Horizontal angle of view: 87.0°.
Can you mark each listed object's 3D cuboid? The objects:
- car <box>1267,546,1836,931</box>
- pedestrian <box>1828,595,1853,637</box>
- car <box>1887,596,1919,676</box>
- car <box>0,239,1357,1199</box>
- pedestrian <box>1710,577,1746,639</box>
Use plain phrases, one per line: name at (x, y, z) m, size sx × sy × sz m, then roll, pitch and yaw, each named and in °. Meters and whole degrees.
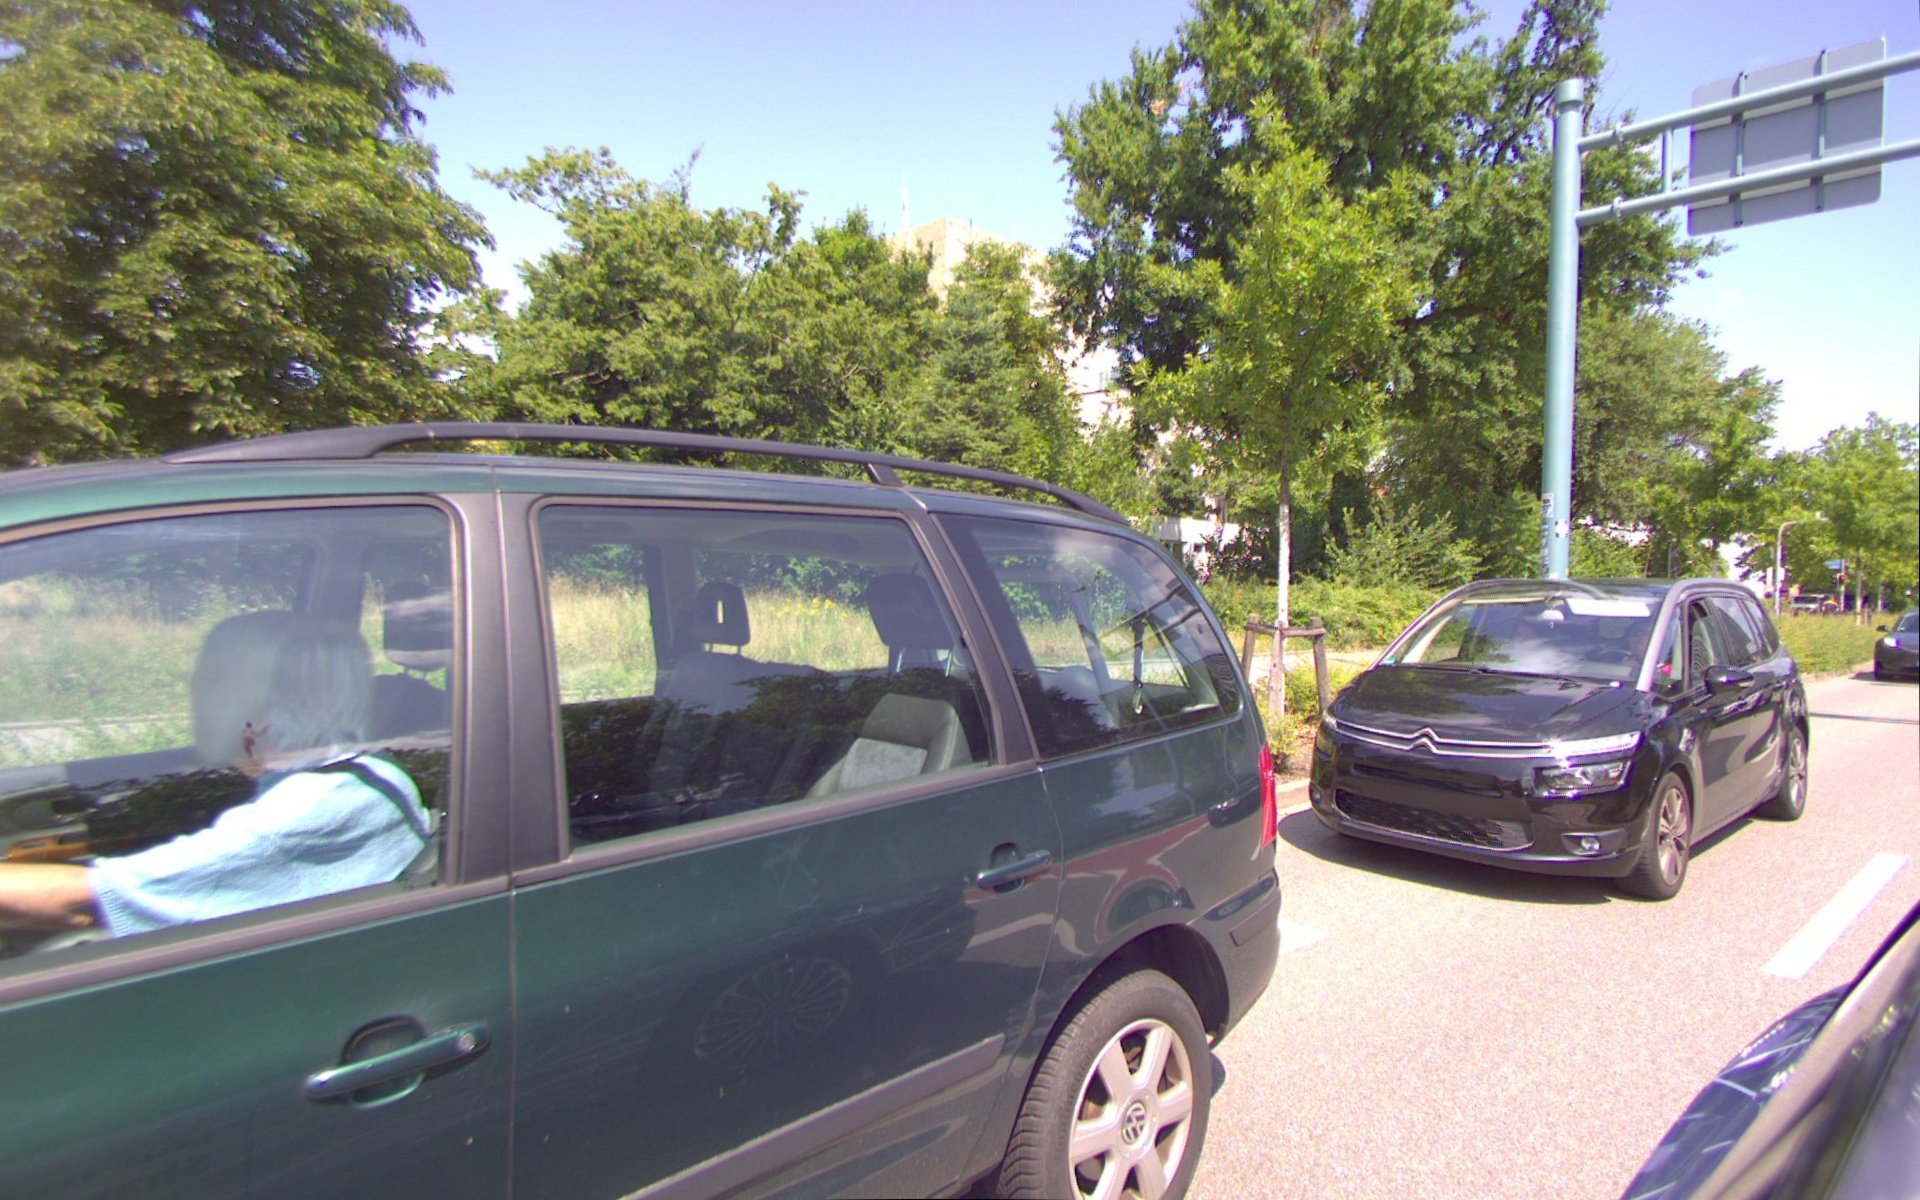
car at (3.970, 0.601, 6.437) m, size 4.400 × 1.628 × 1.815 m, roll 1°, pitch -1°, yaw -41°
pedestrian at (38.673, 0.694, 44.471) m, size 0.635 × 1.787 × 0.876 m, roll 2°, pitch 1°, yaw 32°
car at (18.968, 0.652, 19.027) m, size 4.085 × 1.386 × 1.805 m, roll -1°, pitch 2°, yaw -41°
car at (-1.142, 0.526, 1.976) m, size 4.315 × 1.737 × 1.804 m, roll 0°, pitch -1°, yaw -41°
pedestrian at (26.385, 0.263, 34.757) m, size 0.843 × 2.063 × 0.887 m, roll 2°, pitch 1°, yaw 45°
